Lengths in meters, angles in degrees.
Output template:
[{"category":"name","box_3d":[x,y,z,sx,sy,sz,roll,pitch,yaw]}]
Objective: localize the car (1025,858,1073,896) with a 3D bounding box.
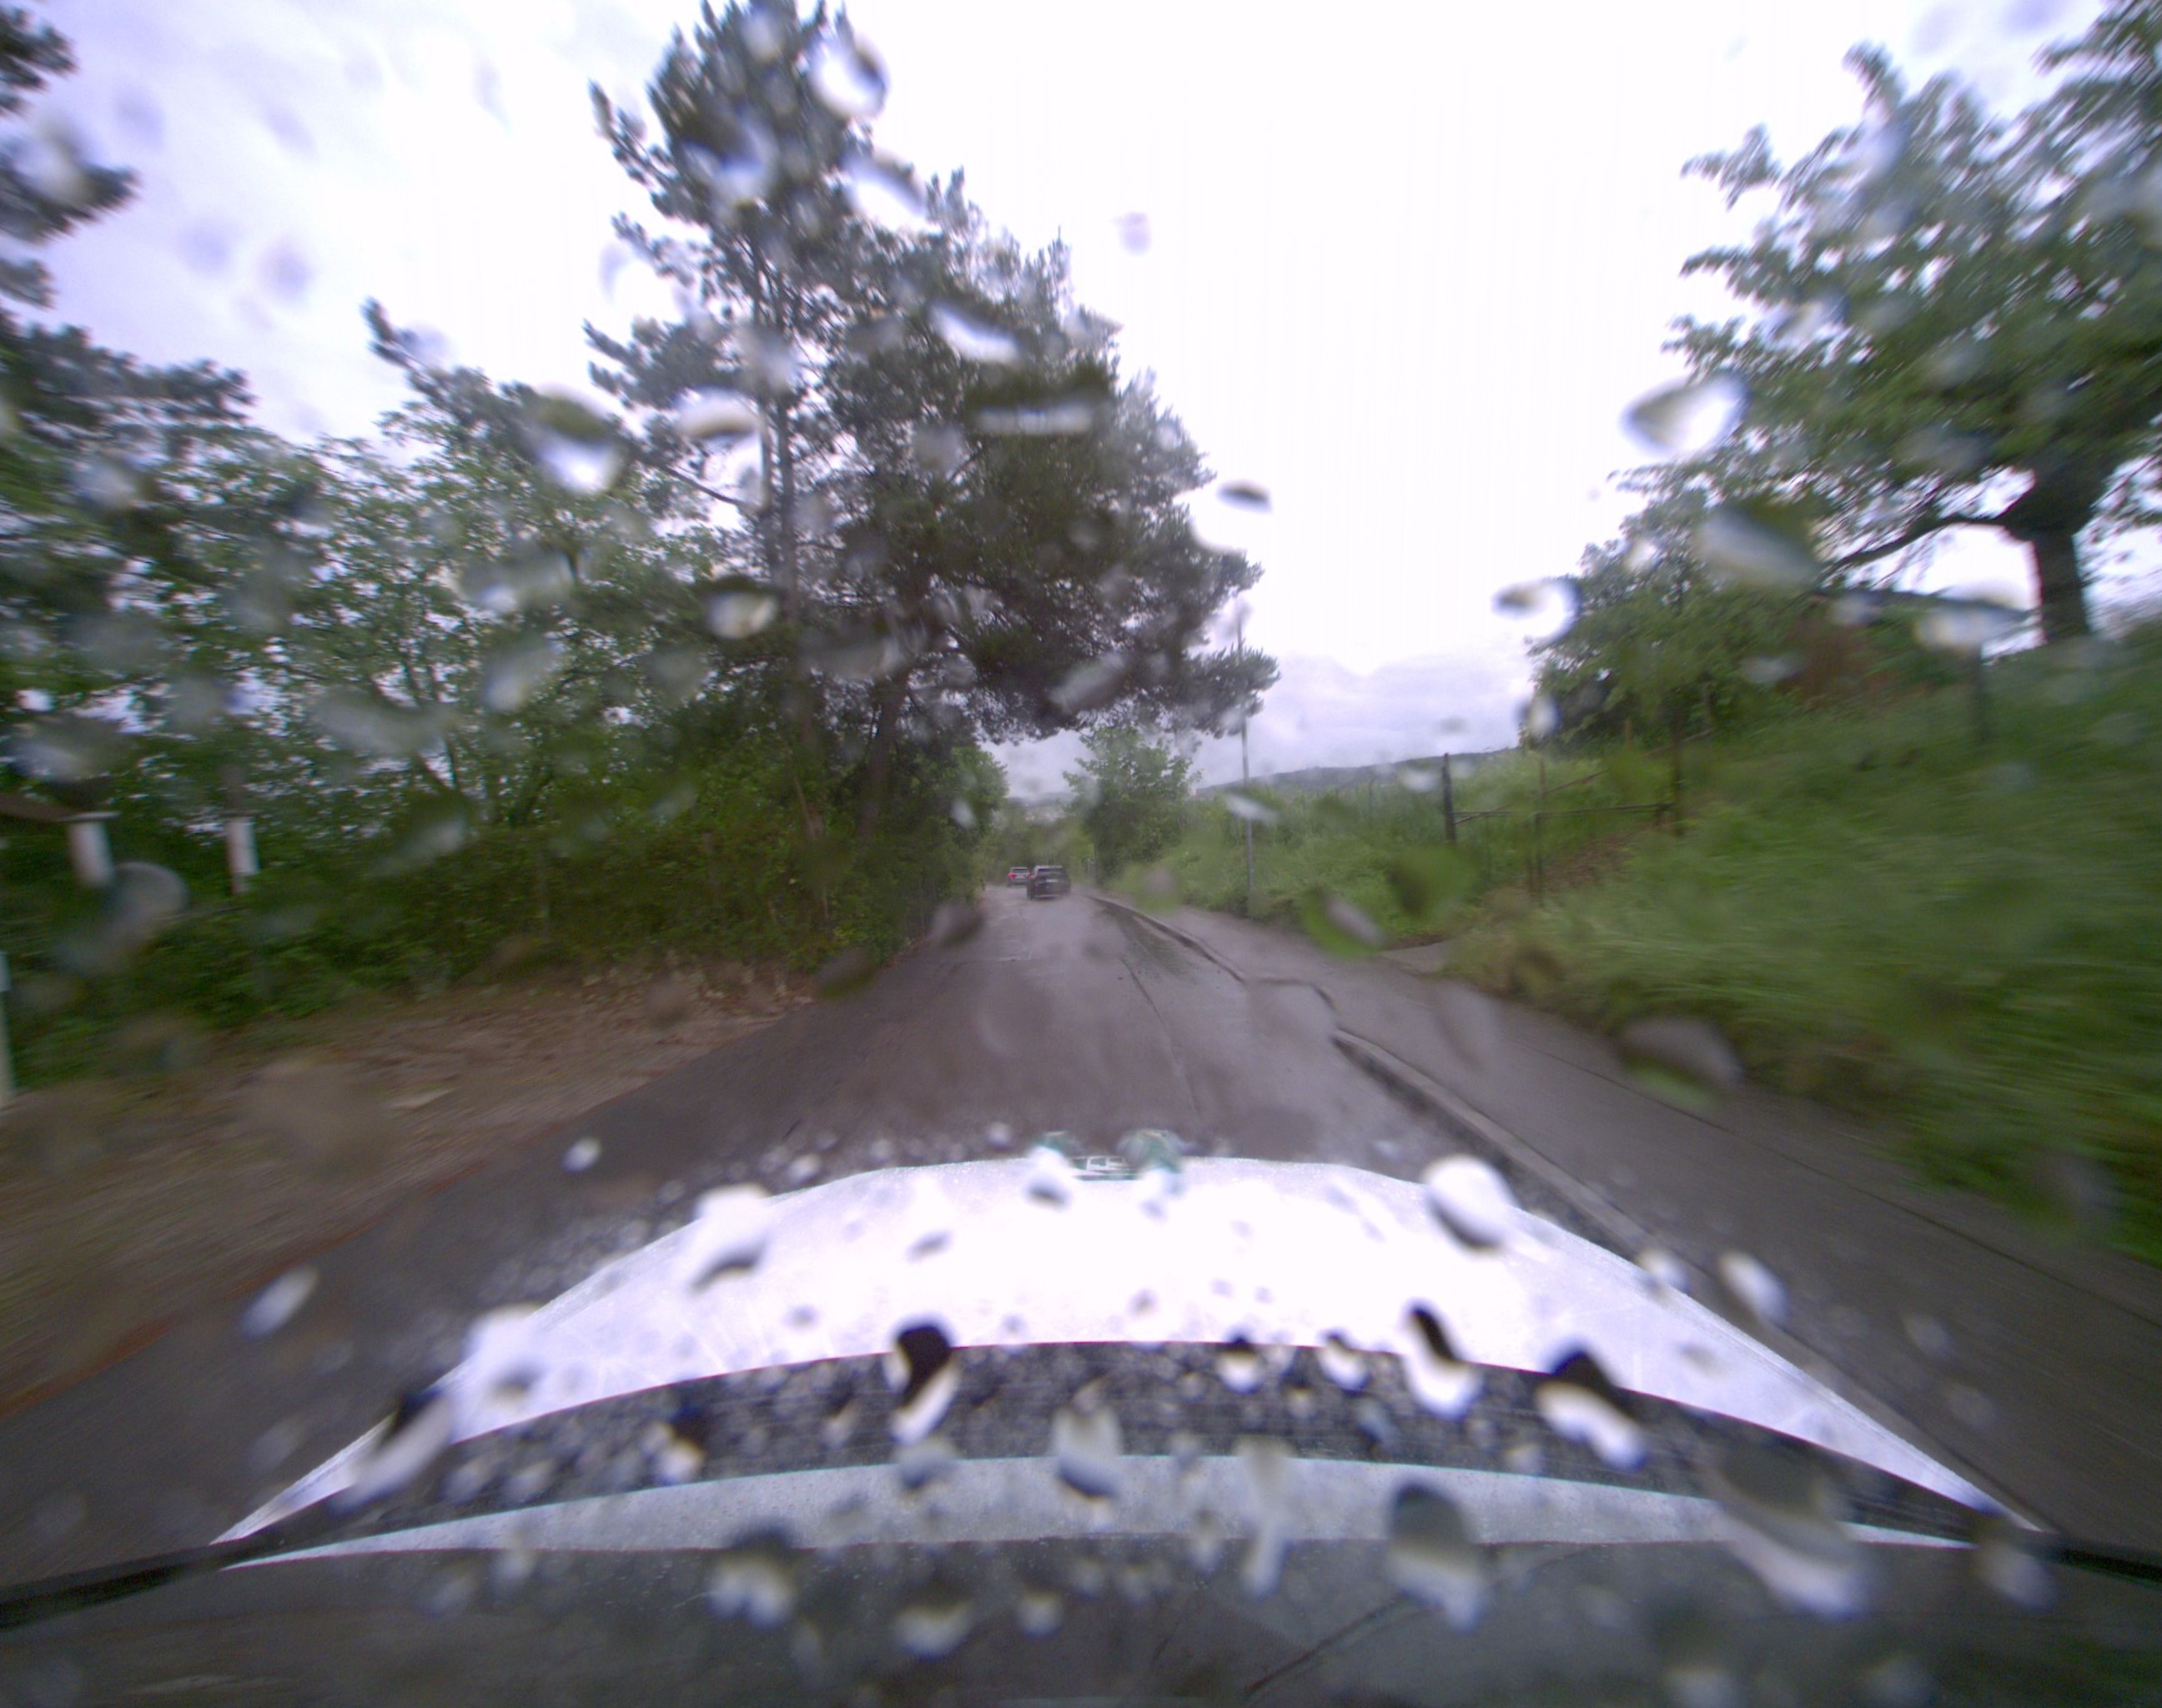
[{"category":"car","box_3d":[-1.464,0.987,35.965,1.832,1.464,3.992,-3,-1,-6]}]

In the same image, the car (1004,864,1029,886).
[{"category":"car","box_3d":[-4.991,1.634,63.062,1.677,1.565,3.783,-1,0,-8]}]
